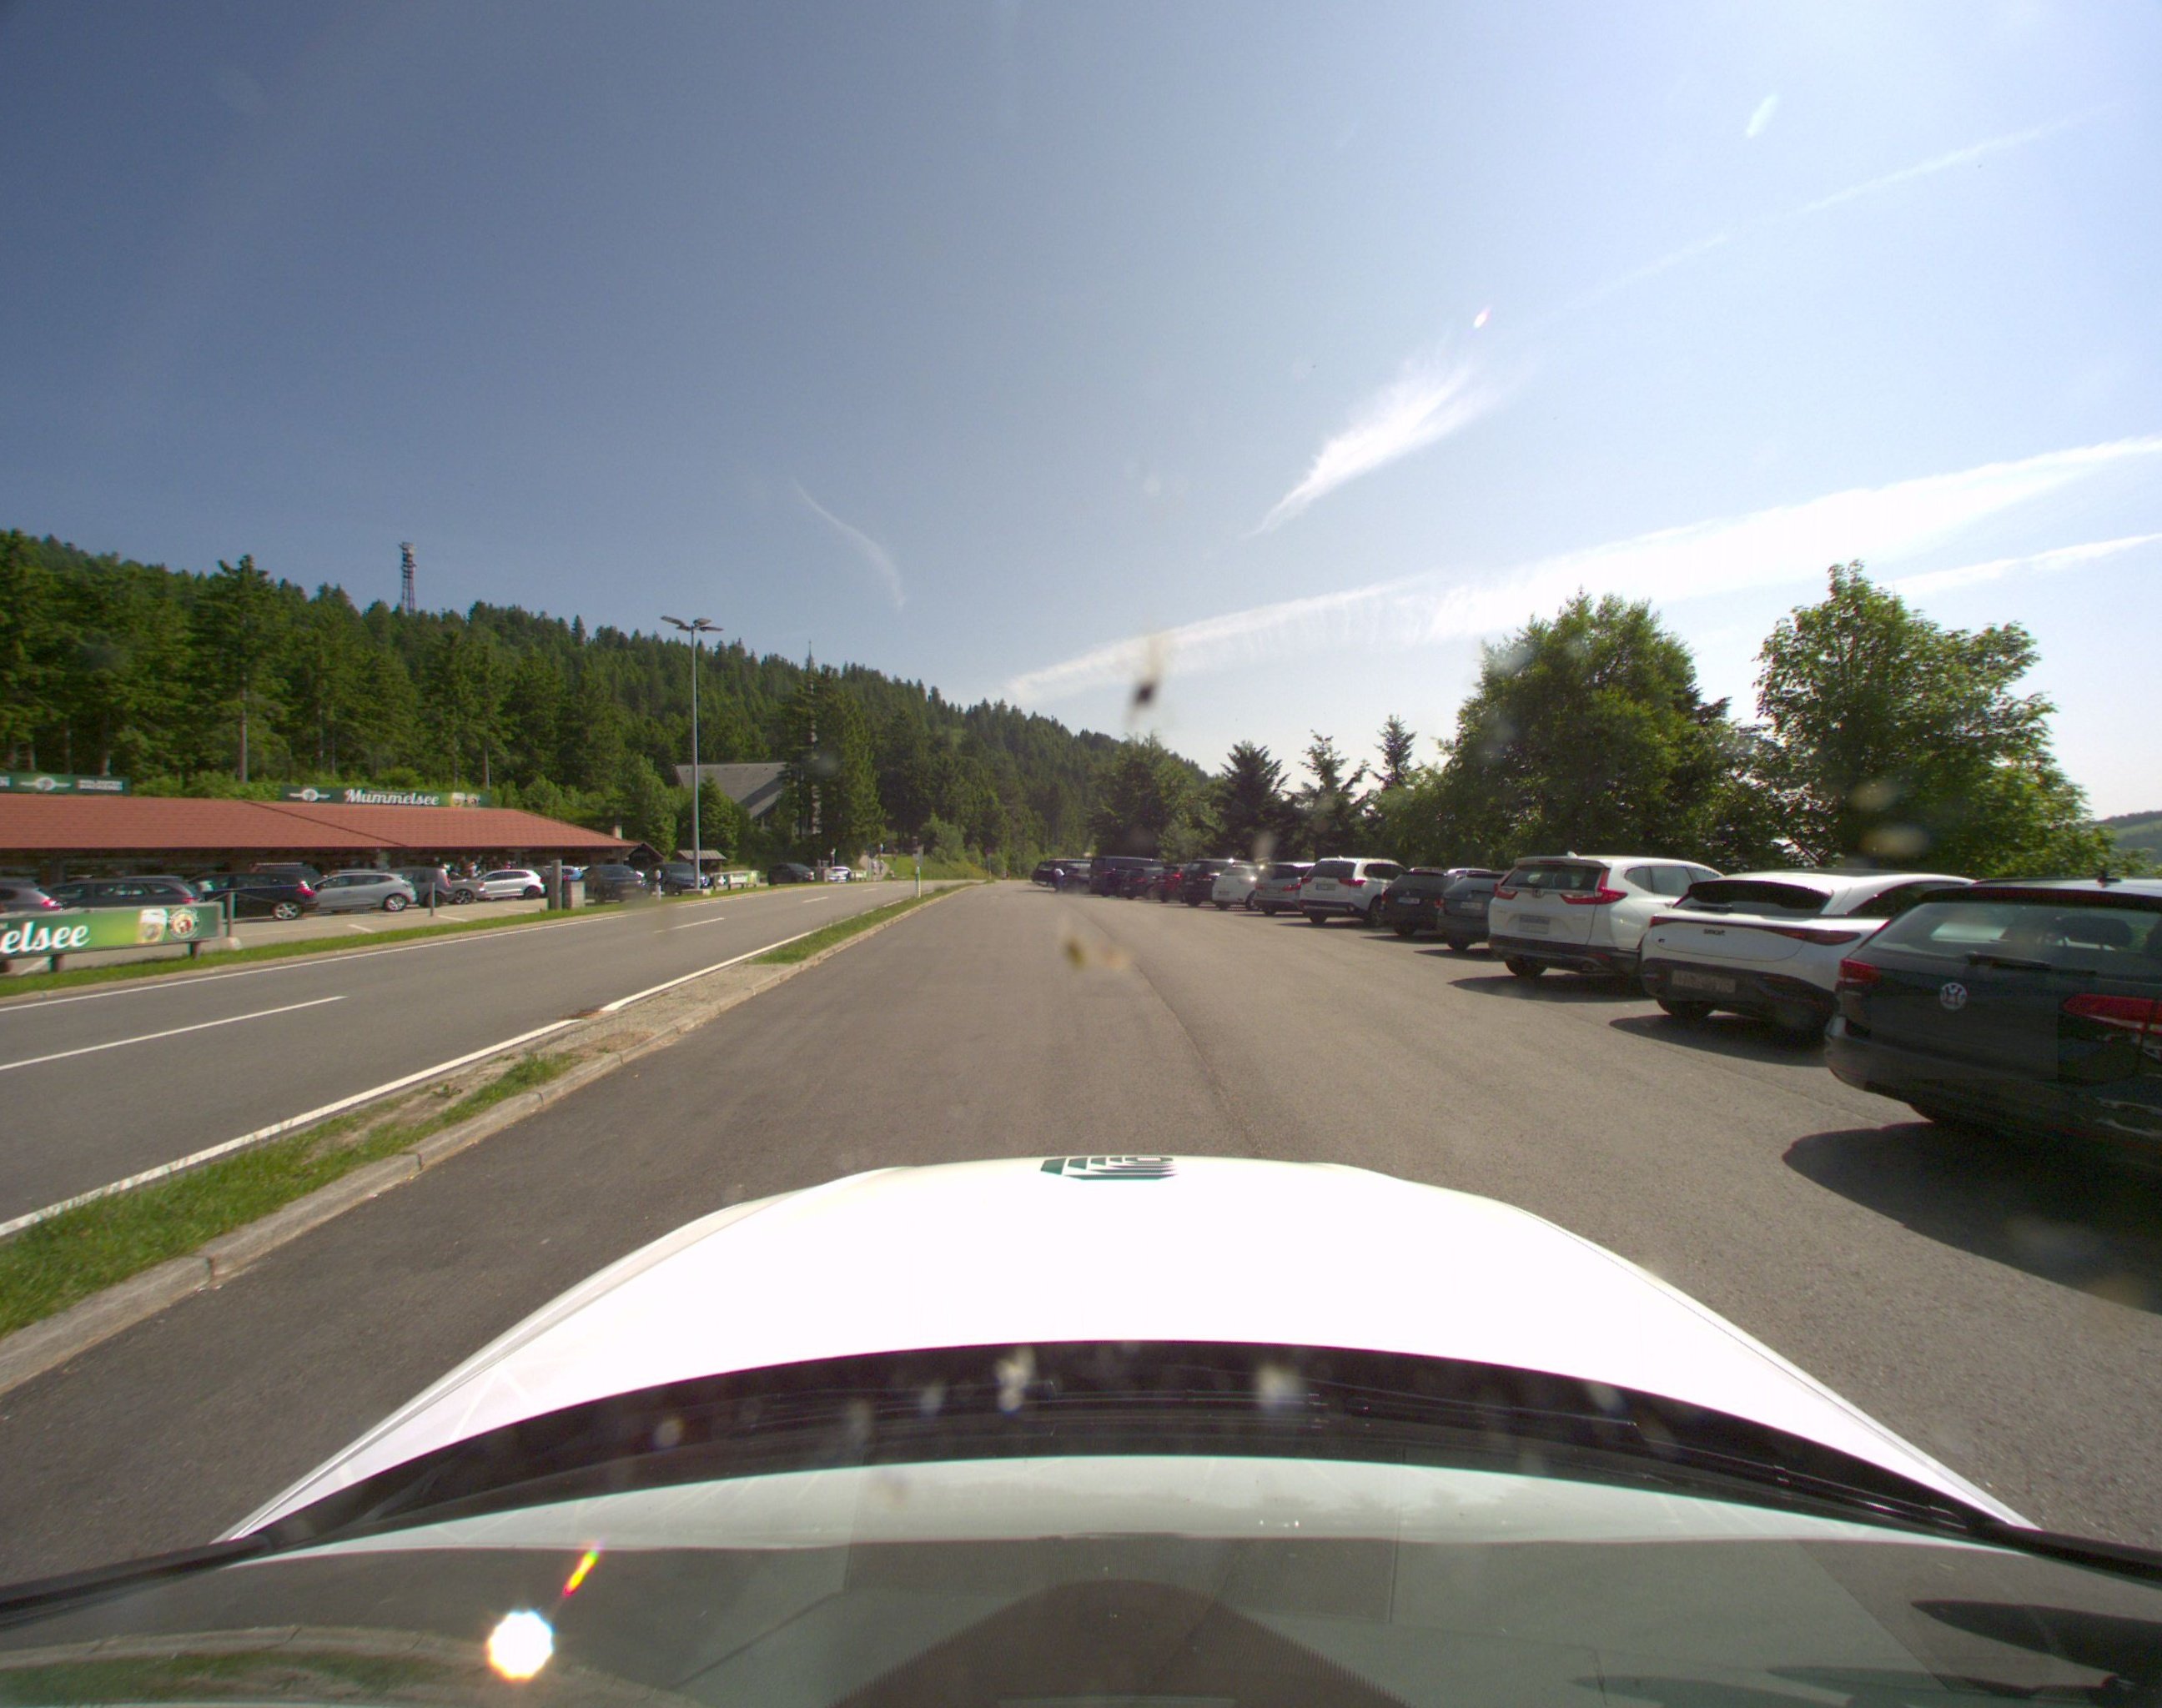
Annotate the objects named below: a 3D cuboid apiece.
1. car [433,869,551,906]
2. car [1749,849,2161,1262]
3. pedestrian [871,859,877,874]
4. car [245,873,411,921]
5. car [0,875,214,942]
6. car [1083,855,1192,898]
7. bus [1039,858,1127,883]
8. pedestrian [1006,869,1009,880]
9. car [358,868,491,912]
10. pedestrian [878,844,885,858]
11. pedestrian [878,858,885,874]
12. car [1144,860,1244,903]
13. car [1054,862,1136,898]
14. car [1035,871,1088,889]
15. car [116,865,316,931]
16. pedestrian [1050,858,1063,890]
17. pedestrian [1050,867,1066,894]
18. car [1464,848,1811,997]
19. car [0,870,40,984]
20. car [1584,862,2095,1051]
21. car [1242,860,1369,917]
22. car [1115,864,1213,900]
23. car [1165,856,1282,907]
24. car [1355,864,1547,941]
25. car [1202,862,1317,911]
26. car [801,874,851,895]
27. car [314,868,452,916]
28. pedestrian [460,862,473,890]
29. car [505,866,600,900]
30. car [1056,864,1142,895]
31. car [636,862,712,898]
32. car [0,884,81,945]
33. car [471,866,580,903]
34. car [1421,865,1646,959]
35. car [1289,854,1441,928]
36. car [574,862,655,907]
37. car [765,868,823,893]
[{"bbox_3d":[-26.915,1.490,37.279,1.883,1.420,4.025,-2,0,41],"label":"car"},{"bbox_3d":[6.143,0.739,4.117,4.347,1.487,1.808,-2,0,-8],"label":"car"},{"bbox_3d":[-23.077,1.409,90.809,0.653,1.667,0.640,-1,-3,-11],"label":"pedestrian"},{"bbox_3d":[-25.998,1.428,28.233,1.789,1.371,4.025,-1,1,40],"label":"car"},{"bbox_3d":[-26.020,1.386,21.560,1.694,1.486,4.105,-1,1,41],"label":"car"},{"bbox_3d":[2.704,1.071,38.728,4.778,1.880,1.951,3,-1,-24],"label":"car"},{"bbox_3d":[0.292,2.409,122.104,12.774,3.578,2.992,0,1,12],"label":"bus"},{"bbox_3d":[-12.248,3.375,135.290,0.392,1.747,0.407,-1,0,10],"label":"pedestrian"},{"bbox_3d":[-27.192,1.429,33.813,1.875,1.545,4.025,-1,1,42],"label":"car"},{"bbox_3d":[-29.319,-0.505,119.718,0.816,2.013,0.850,-2,0,-13],"label":"pedestrian"},{"bbox_3d":[-22.310,1.363,91.109,0.653,1.799,0.641,0,0,-11],"label":"pedestrian"},{"bbox_3d":[4.649,1.126,33.130,4.021,1.590,1.841,3,-2,-42],"label":"car"},{"bbox_3d":[0.786,1.444,44.733,4.013,1.662,1.980,5,-3,-32],"label":"car"},{"bbox_3d":[-1.725,2.360,73.579,4.468,1.299,1.571,5,-2,-21],"label":"car"},{"bbox_3d":[-26.049,1.249,24.752,4.023,1.704,1.803,-2,1,-44],"label":"car"},{"bbox_3d":[-1.352,1.121,45.311,0.578,1.761,0.631,3,-2,-9],"label":"pedestrian"},{"bbox_3d":[-1.226,1.393,42.990,0.770,1.402,0.669,-1,0,2],"label":"pedestrian"},{"bbox_3d":[7.335,0.839,10.730,4.190,1.650,1.877,3,-1,-24],"label":"car"},{"bbox_3d":[-16.137,1.025,11.188,4.140,1.540,1.819,-1,1,44],"label":"car"},{"bbox_3d":[7.367,0.857,8.017,4.096,1.500,1.932,1,-1,-17],"label":"car"},{"bbox_3d":[6.830,1.036,24.589,4.021,1.549,1.799,3,-2,-42],"label":"car"},{"bbox_3d":[3.629,1.239,35.582,4.013,1.415,1.727,3,-1,-32],"label":"car"},{"bbox_3d":[5.262,1.023,29.848,4.296,1.695,1.967,3,-2,-42],"label":"car"},{"bbox_3d":[8.039,1.024,17.591,4.066,1.461,1.875,3,-1,-33],"label":"car"},{"bbox_3d":[6.080,1.105,27.495,4.021,1.476,1.747,3,-2,-42],"label":"car"},{"bbox_3d":[-19.708,2.353,62.962,3.919,1.441,1.755,-2,0,39],"label":"car"},{"bbox_3d":[-26.650,1.396,31.166,1.713,1.588,3.756,-1,1,41],"label":"car"},{"bbox_3d":[-40.594,1.441,53.786,0.540,1.874,0.531,-1,-2,39],"label":"pedestrian"},{"bbox_3d":[-29.251,1.585,45.167,1.753,1.672,4.056,-3,-1,40],"label":"car"},{"bbox_3d":[0.925,1.293,41.652,4.007,1.443,1.824,3,-1,-26],"label":"car"},{"bbox_3d":[-18.832,1.151,37.616,4.008,1.567,1.751,-1,-1,41],"label":"car"},{"bbox_3d":[-25.679,1.445,18.520,1.567,1.321,3.662,-1,1,38],"label":"car"},{"bbox_3d":[-27.389,1.472,40.229,1.974,1.574,4.025,-2,0,41],"label":"car"},{"bbox_3d":[8.088,0.995,14.506,3.814,1.459,1.648,2,-1,-27],"label":"car"},{"bbox_3d":[7.357,0.904,20.901,4.249,1.695,1.841,2,-1,-42],"label":"car"},{"bbox_3d":[-17.834,1.112,31.088,1.793,1.552,3.951,-1,0,-43],"label":"car"},{"bbox_3d":[-20.067,1.851,56.903,4.156,1.634,1.800,-2,-2,35],"label":"car"}]
